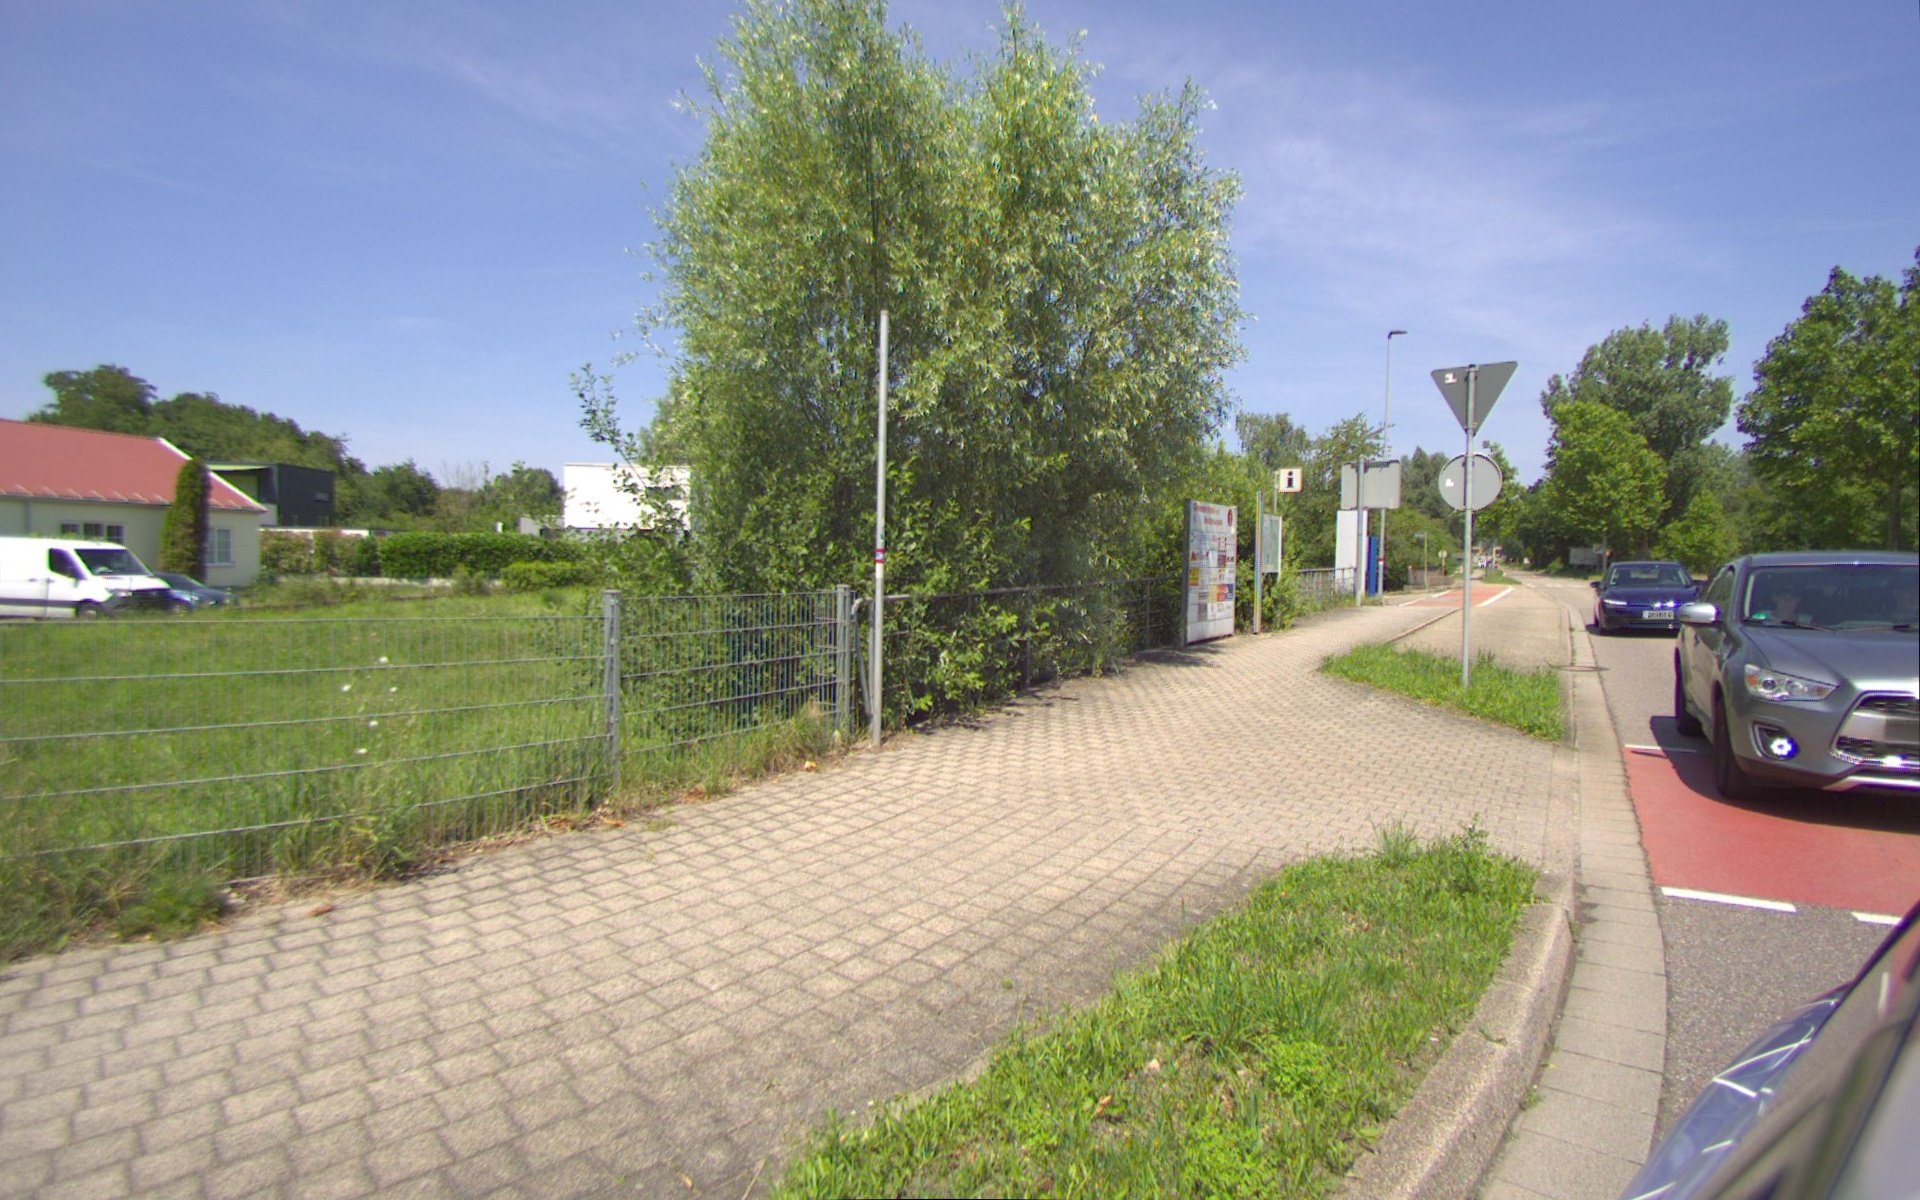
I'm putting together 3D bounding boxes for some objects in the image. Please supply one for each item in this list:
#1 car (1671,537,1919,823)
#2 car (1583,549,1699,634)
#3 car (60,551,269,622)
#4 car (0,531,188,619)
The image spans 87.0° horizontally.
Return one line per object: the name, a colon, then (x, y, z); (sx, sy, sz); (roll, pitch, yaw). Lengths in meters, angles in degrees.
car: (6.444, 0.354, 7.348); (1.737, 1.552, 4.476); (2, 3, 31)
car: (13.912, -0.240, 20.704); (1.783, 1.558, 4.081); (2, 2, 34)
car: (-24.134, -0.440, 30.826); (4.844, 2.038, 2.068); (-1, 2, 4)
car: (-24.266, -0.684, 27.415); (5.090, 2.228, 2.215); (-1, 2, 3)
